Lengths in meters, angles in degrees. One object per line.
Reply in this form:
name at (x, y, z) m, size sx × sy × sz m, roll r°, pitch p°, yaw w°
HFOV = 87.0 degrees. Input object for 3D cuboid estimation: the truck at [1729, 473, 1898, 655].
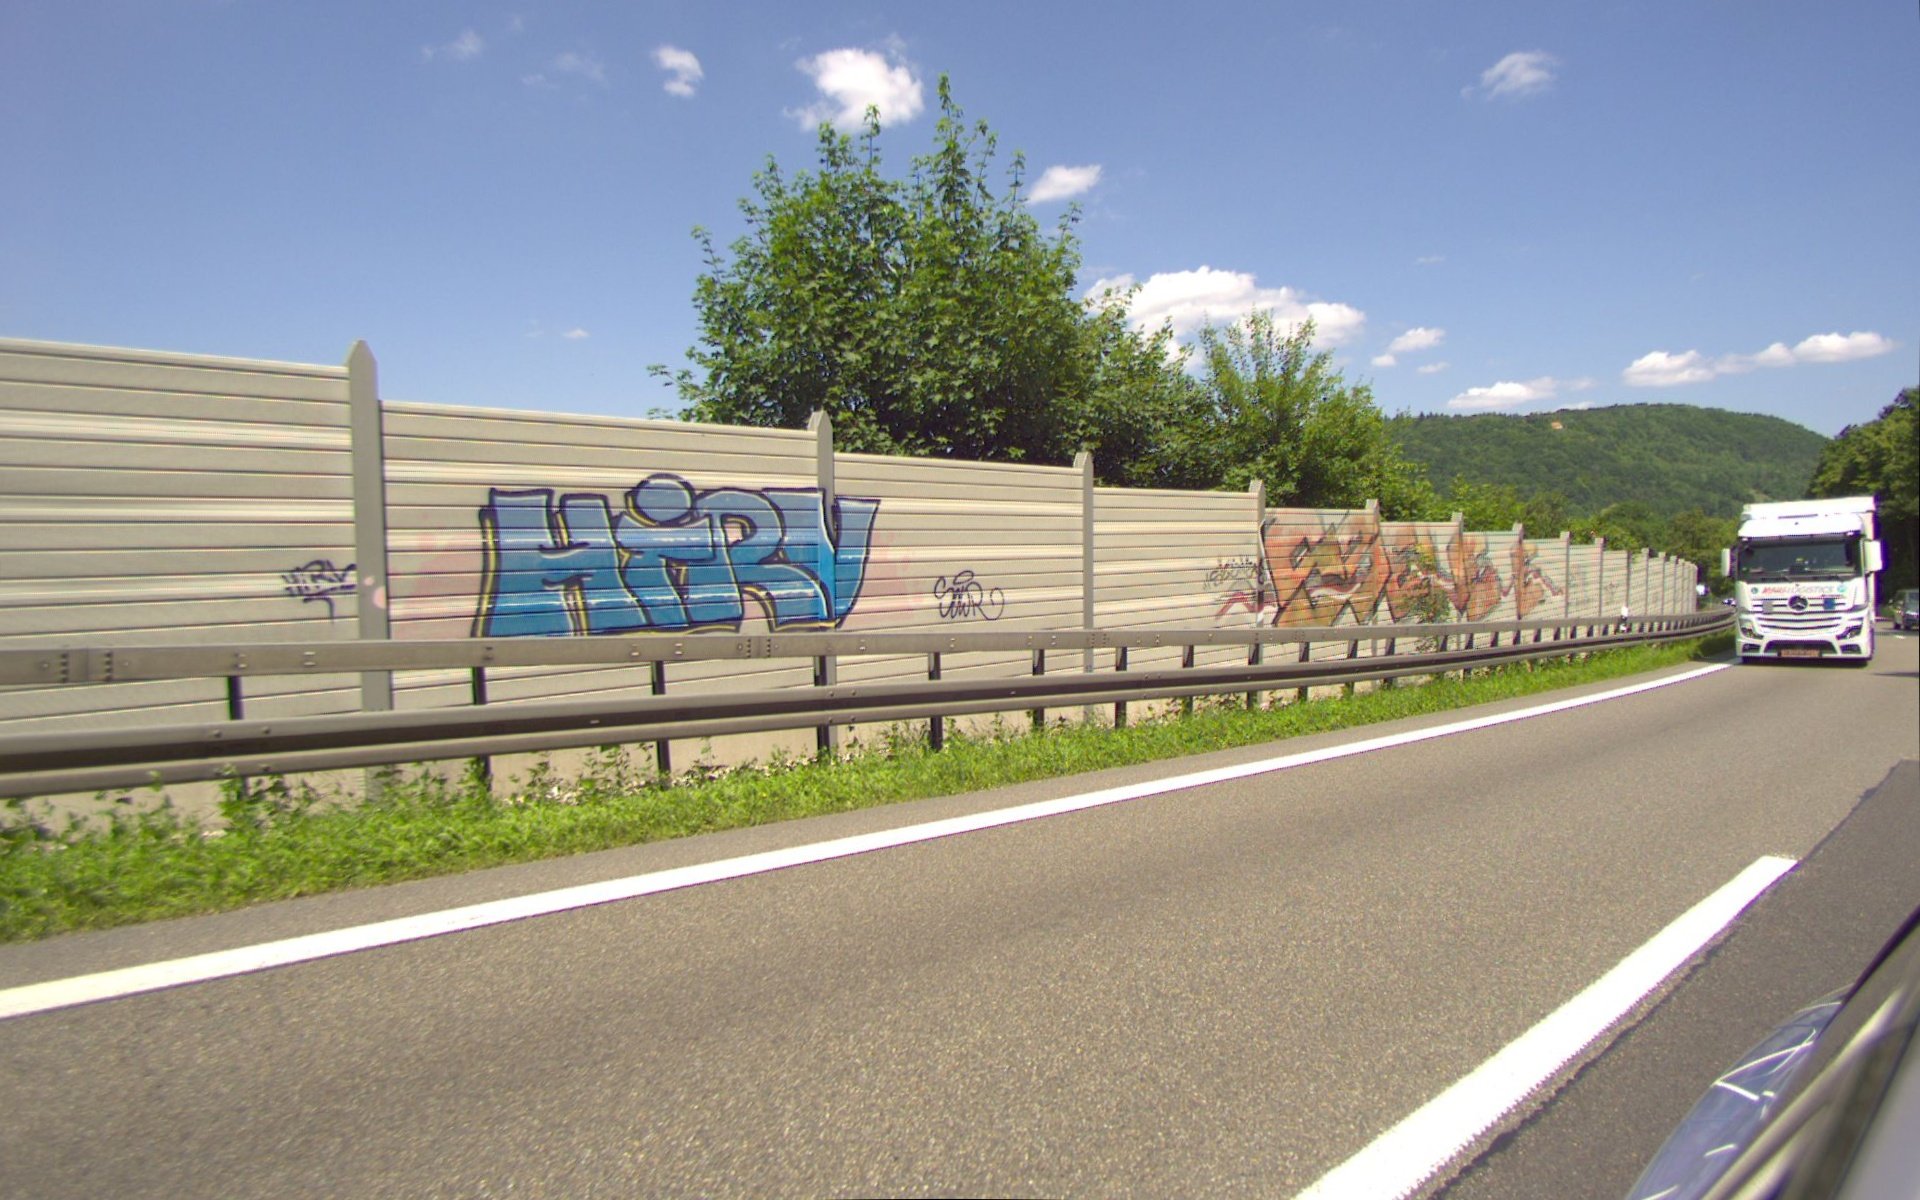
truck at (22.029, -0.825, 25.985) m, size 6.712 × 4.089 × 2.759 m, roll 0°, pitch 0°, yaw -45°

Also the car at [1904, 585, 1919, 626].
car at (45.912, 0.273, 47.387) m, size 2.034 × 1.889 × 3.946 m, roll 1°, pitch 0°, yaw 37°

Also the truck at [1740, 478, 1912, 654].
truck at (25.415, -0.841, 29.376) m, size 2.855 × 4.200 × 11.852 m, roll -1°, pitch 0°, yaw 45°
